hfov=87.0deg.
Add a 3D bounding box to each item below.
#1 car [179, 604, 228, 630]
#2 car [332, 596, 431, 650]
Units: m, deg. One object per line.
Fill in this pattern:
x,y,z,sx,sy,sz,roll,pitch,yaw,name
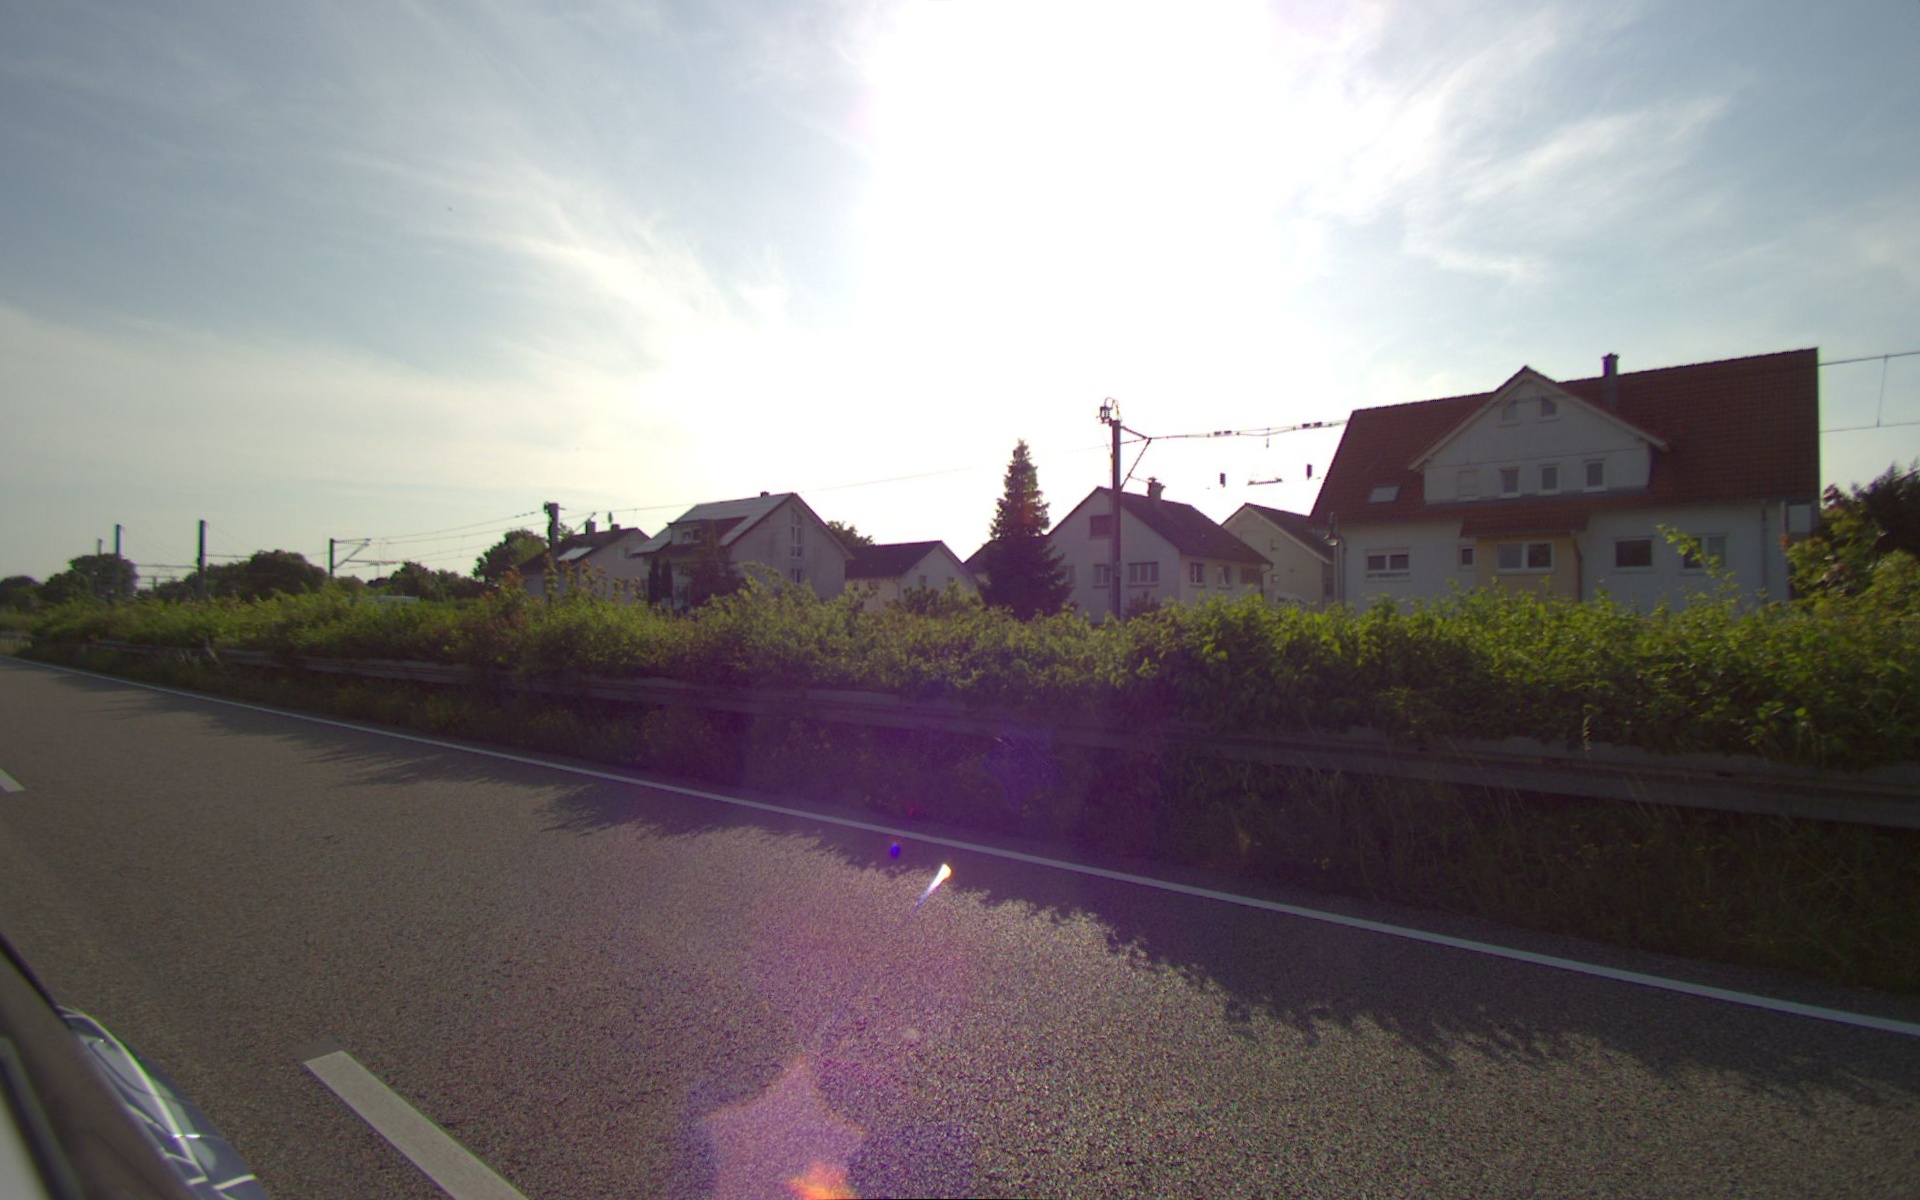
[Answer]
-53.127,1.181,71.040,3.998,1.763,1.973,-1,0,41,car
-23.332,0.920,40.733,4.869,2.029,1.973,-1,0,41,car
